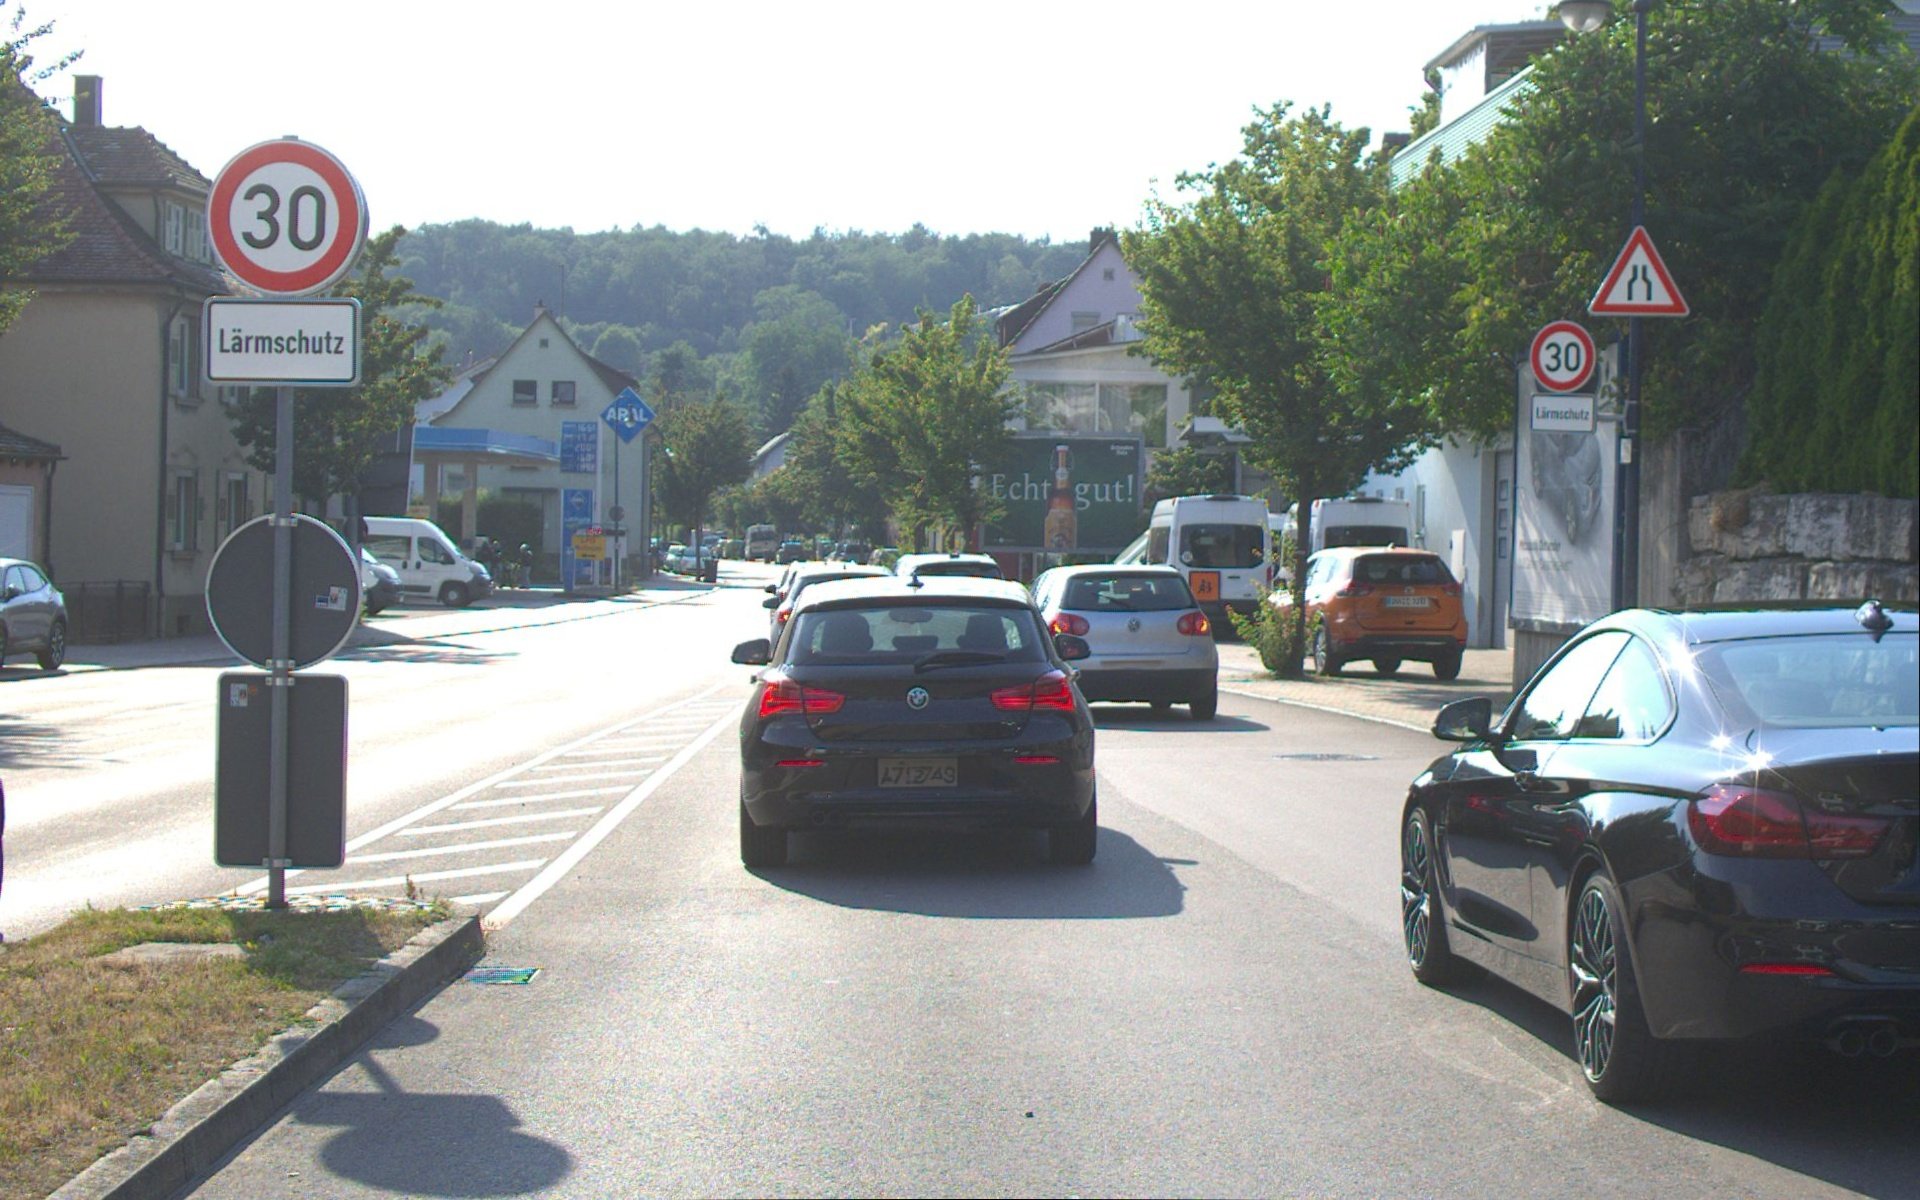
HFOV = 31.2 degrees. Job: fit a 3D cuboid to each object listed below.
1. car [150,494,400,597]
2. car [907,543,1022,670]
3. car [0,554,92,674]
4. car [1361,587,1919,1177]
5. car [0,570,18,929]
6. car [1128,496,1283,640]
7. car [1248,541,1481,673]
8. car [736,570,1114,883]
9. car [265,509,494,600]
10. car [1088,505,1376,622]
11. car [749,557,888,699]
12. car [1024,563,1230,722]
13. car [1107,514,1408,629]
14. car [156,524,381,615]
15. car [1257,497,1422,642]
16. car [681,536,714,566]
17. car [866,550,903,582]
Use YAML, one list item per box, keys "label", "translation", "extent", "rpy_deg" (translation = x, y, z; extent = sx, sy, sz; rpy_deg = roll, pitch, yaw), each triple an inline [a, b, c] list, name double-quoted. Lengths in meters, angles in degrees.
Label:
- label: "car"
  translation: [-17.571, -1.417, 88.355]
  extent: [5.920, 2.471, 2.194]
  rpy_deg: [1, 3, 2]
- label: "car"
  translation: [0.070, 0.058, 50.014]
  extent: [1.603, 1.761, 3.411]
  rpy_deg: [0, 1, 0]
- label: "car"
  translation: [-13.331, 0.154, 46.744]
  extent: [1.756, 1.474, 4.000]
  rpy_deg: [3, 1, 3]
- label: "car"
  translation: [2.486, 0.687, 10.658]
  extent: [1.699, 1.364, 4.263]
  rpy_deg: [0, 1, -4]
- label: "car"
  translation: [-4.691, 0.639, 12.514]
  extent: [1.532, 1.457, 3.506]
  rpy_deg: [0, 1, 1]
- label: "car"
  translation: [4.715, -0.660, 67.117]
  extent: [2.149, 2.671, 6.604]
  rpy_deg: [0, 1, -4]
- label: "car"
  translation: [5.264, 0.057, 45.326]
  extent: [1.834, 1.643, 4.540]
  rpy_deg: [0, 1, -10]
- label: "car"
  translation: [-0.192, 0.579, 17.906]
  extent: [1.771, 1.451, 3.516]
  rpy_deg: [0, 1, -1]
- label: "car"
  translation: [-16.505, -1.292, 97.999]
  extent: [6.158, 2.436, 2.250]
  rpy_deg: [1, 1, -2]
- label: "car"
  translation: [5.927, -0.799, 75.292]
  extent: [6.043, 2.507, 2.044]
  rpy_deg: [0, 1, -4]
- label: "car"
  translation: [-1.697, 0.300, 41.527]
  extent: [1.591, 1.595, 3.894]
  rpy_deg: [0, 1, -2]
- label: "car"
  translation: [1.557, 0.370, 33.160]
  extent: [1.753, 1.409, 3.422]
  rpy_deg: [0, 1, -1]
- label: "car"
  translation: [6.216, -0.608, 72.309]
  extent: [6.043, 2.355, 2.044]
  rpy_deg: [0, 1, -4]
- label: "car"
  translation: [-16.551, -0.751, 82.406]
  extent: [4.976, 1.992, 1.936]
  rpy_deg: [1, 3, 1]
- label: "car"
  translation: [7.385, -0.642, 67.644]
  extent: [2.111, 2.712, 6.444]
  rpy_deg: [0, 1, -4]
- label: "car"
  translation: [-13.444, -2.514, 176.455]
  extent: [1.596, 1.480, 3.475]
  rpy_deg: [1, 1, -3]
- label: "car"
  translation: [-3.593, -1.628, 163.728]
  extent: [1.596, 1.480, 3.475]
  rpy_deg: [1, 1, -3]
